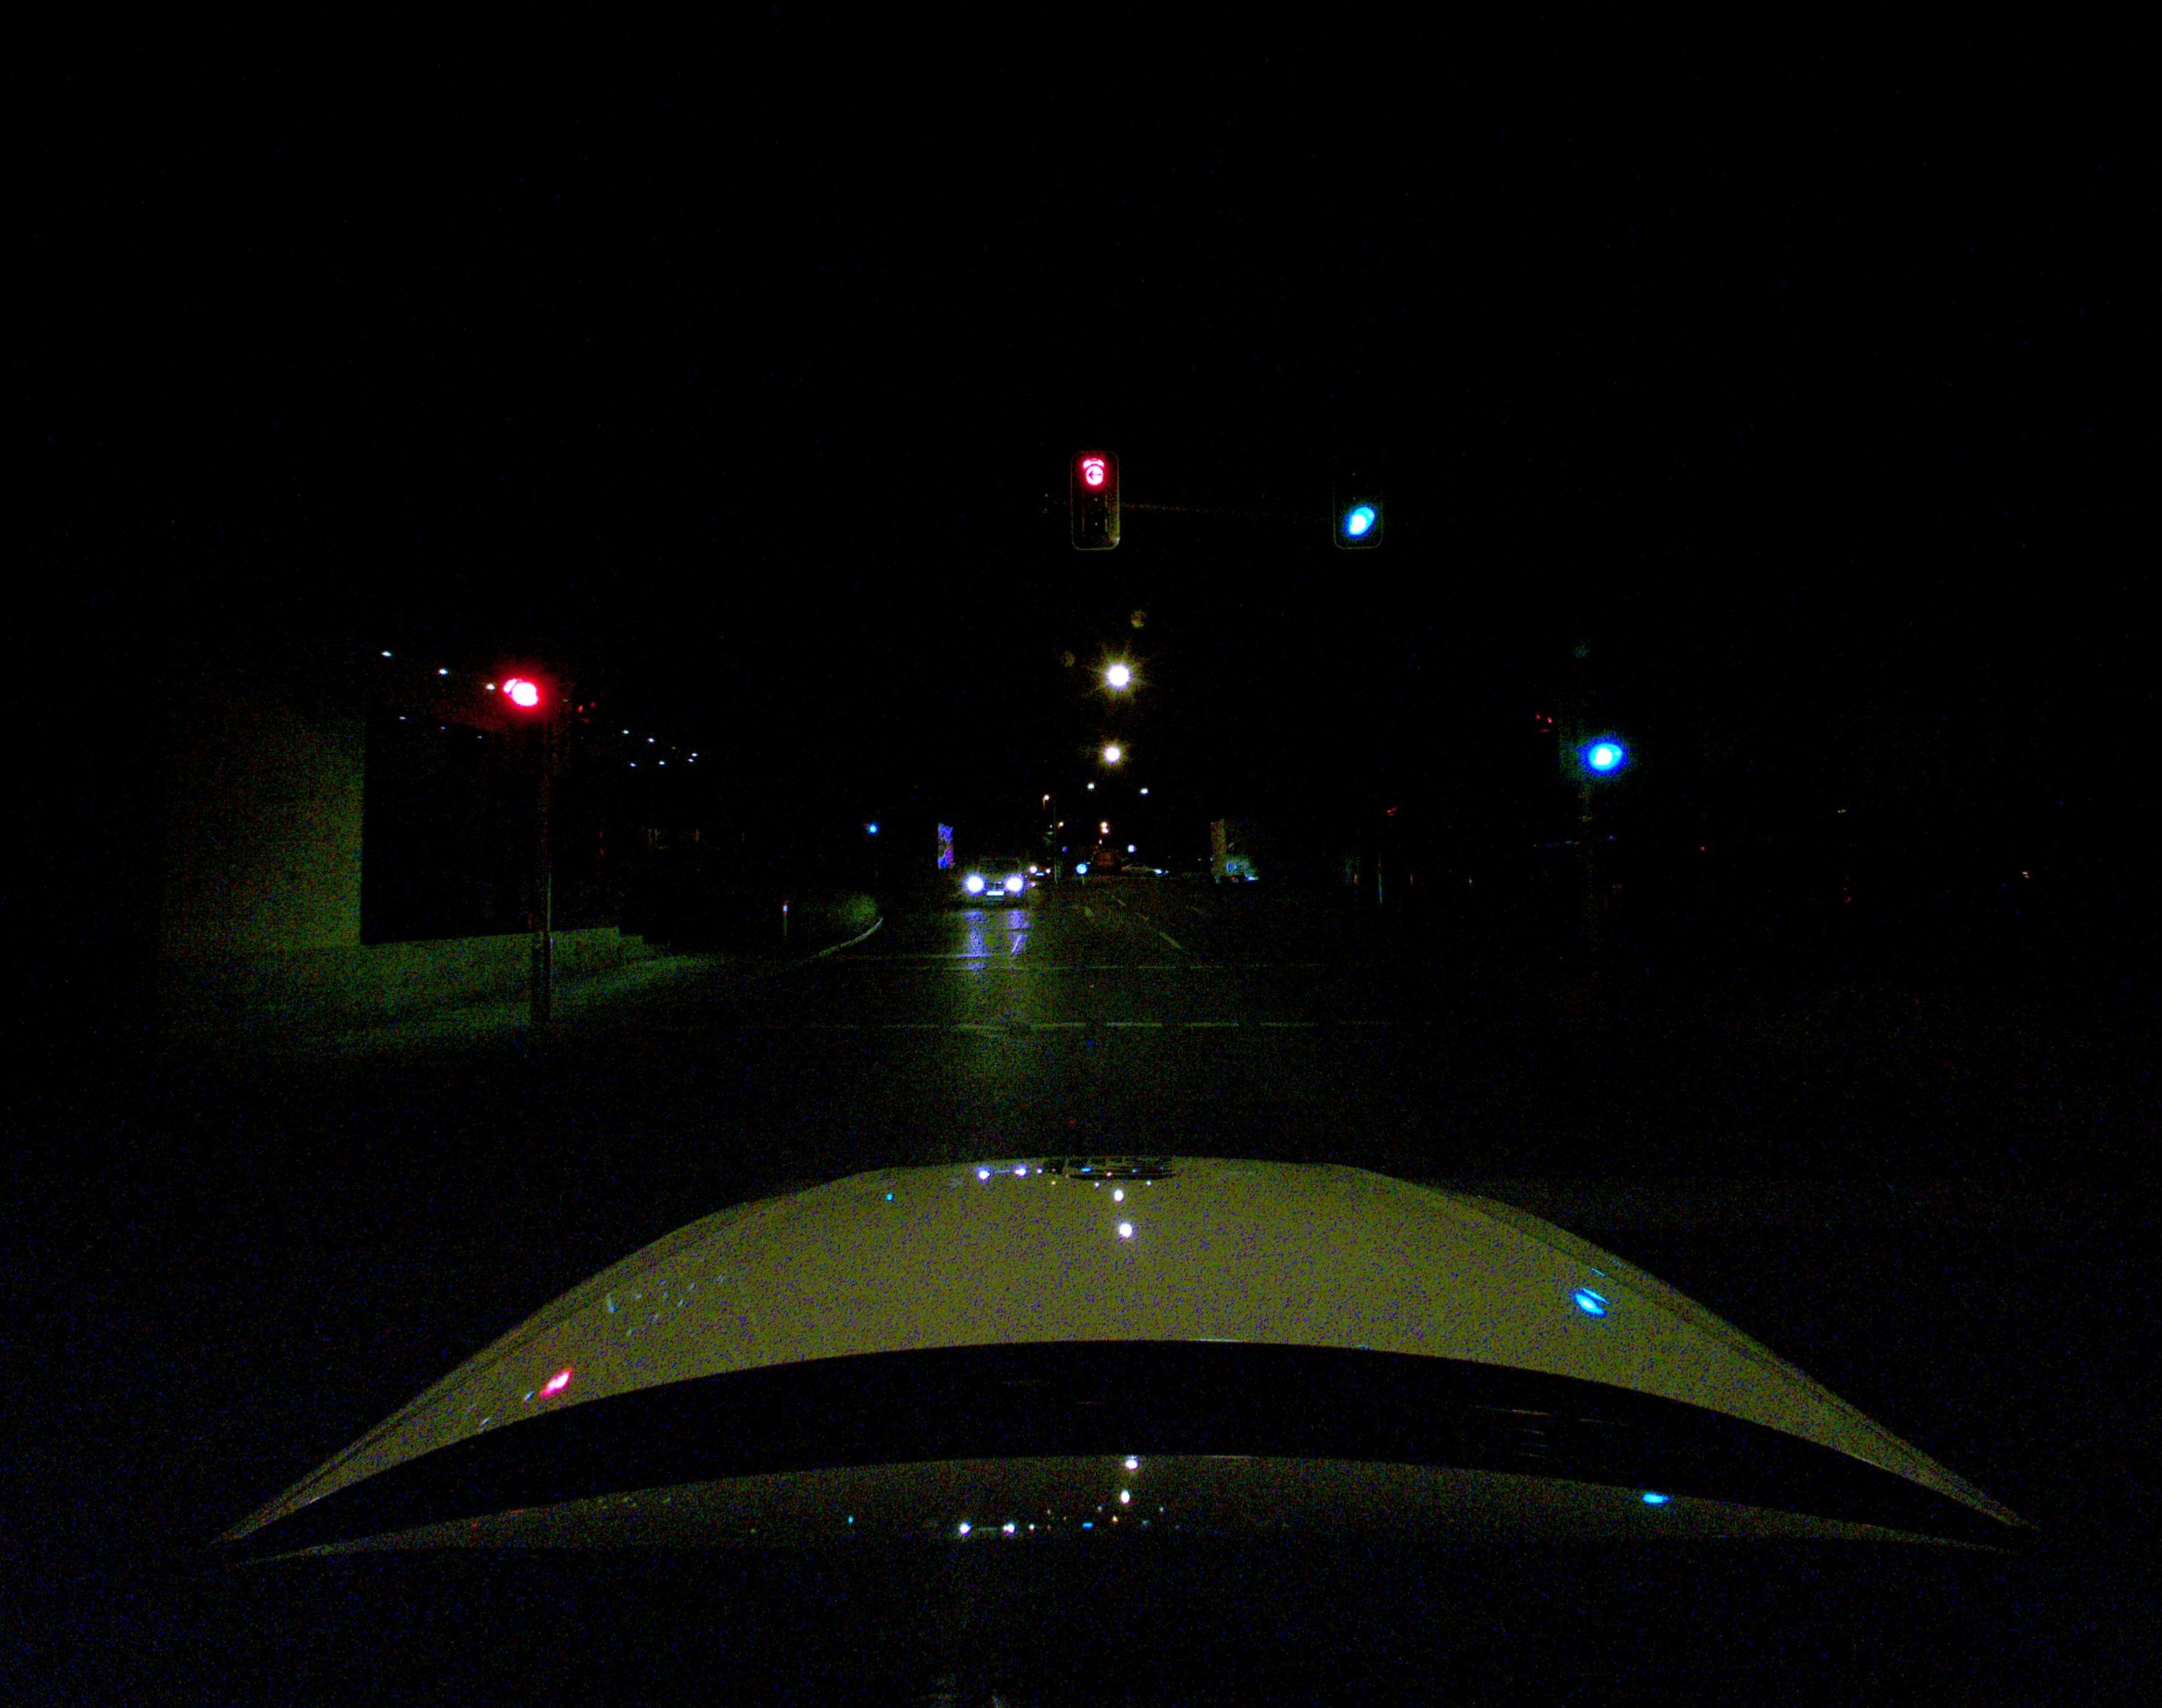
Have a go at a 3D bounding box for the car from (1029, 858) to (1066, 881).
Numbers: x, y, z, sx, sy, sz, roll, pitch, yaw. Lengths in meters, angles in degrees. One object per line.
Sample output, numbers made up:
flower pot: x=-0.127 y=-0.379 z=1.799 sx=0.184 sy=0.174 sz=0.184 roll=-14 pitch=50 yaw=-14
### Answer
car: x=-2.234 y=1.013 z=54.963 sx=1.570 sy=1.501 sz=3.410 roll=-1 pitch=0 yaw=15

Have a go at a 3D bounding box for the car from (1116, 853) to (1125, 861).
car: x=7.457 y=0.612 z=153.157 sx=1.628 sy=1.452 sz=3.486 roll=0 pitch=0 yaw=2

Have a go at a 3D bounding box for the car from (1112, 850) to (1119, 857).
car: x=8.165 y=-0.141 z=191.571 sx=1.628 sy=1.452 sz=3.486 roll=0 pitch=0 yaw=2

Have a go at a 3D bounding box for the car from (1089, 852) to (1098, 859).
car: x=2.418 y=0.276 z=160.766 sx=1.809 sy=1.491 sz=4.000 roll=0 pitch=0 yaw=0

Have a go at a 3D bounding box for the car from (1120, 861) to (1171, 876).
car: x=6.153 y=1.340 z=78.159 sx=4.523 sy=1.388 sz=1.935 roll=0 pitch=0 yaw=37

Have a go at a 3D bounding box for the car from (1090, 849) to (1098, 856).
car: x=2.980 y=-0.371 z=187.168 sx=1.809 sy=1.491 sz=4.000 roll=0 pitch=0 yaw=0

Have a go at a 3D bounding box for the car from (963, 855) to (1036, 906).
car: x=-2.589 y=0.803 z=26.733 sx=1.850 sy=1.534 sz=4.029 roll=0 pitch=0 yaw=2

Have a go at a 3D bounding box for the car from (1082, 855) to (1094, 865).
car: x=1.184 y=0.976 z=134.640 sx=1.808 sy=1.684 sz=4.002 roll=0 pitch=0 yaw=2

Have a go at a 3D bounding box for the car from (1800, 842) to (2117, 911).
car: x=17.326 y=0.447 z=16.286 sx=4.107 sy=1.280 sz=1.770 roll=-1 pitch=-1 yaw=9

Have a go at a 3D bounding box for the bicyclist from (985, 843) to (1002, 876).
bicyclist: x=-4.438 y=0.279 z=41.391 sx=0.688 sy=1.637 sz=0.896 roll=-1 pitch=-1 yaw=1

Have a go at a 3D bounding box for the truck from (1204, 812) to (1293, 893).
truck: x=6.934 y=-0.049 z=34.519 sx=2.738 sy=3.110 sz=6.262 roll=0 pitch=0 yaw=2

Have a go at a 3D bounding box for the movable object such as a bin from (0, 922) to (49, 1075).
movable object such as a bin: x=-7.922 y=1.032 z=5.714 sx=0.633 sy=1.049 sz=0.657 roll=-1 pitch=-1 yaw=19

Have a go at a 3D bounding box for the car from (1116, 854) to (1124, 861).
car: x=7.593 y=0.673 z=159.342 sx=1.628 sy=1.452 sz=3.486 roll=0 pitch=0 yaw=2

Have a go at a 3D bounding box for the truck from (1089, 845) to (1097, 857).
truck: x=3.119 y=-0.763 z=209.821 sx=2.079 sy=2.848 sz=5.831 roll=0 pitch=0 yaw=0

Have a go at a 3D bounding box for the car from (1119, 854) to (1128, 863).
car: x=7.473 y=0.790 z=143.413 sx=1.628 sy=1.452 sz=3.486 roll=0 pitch=0 yaw=2
